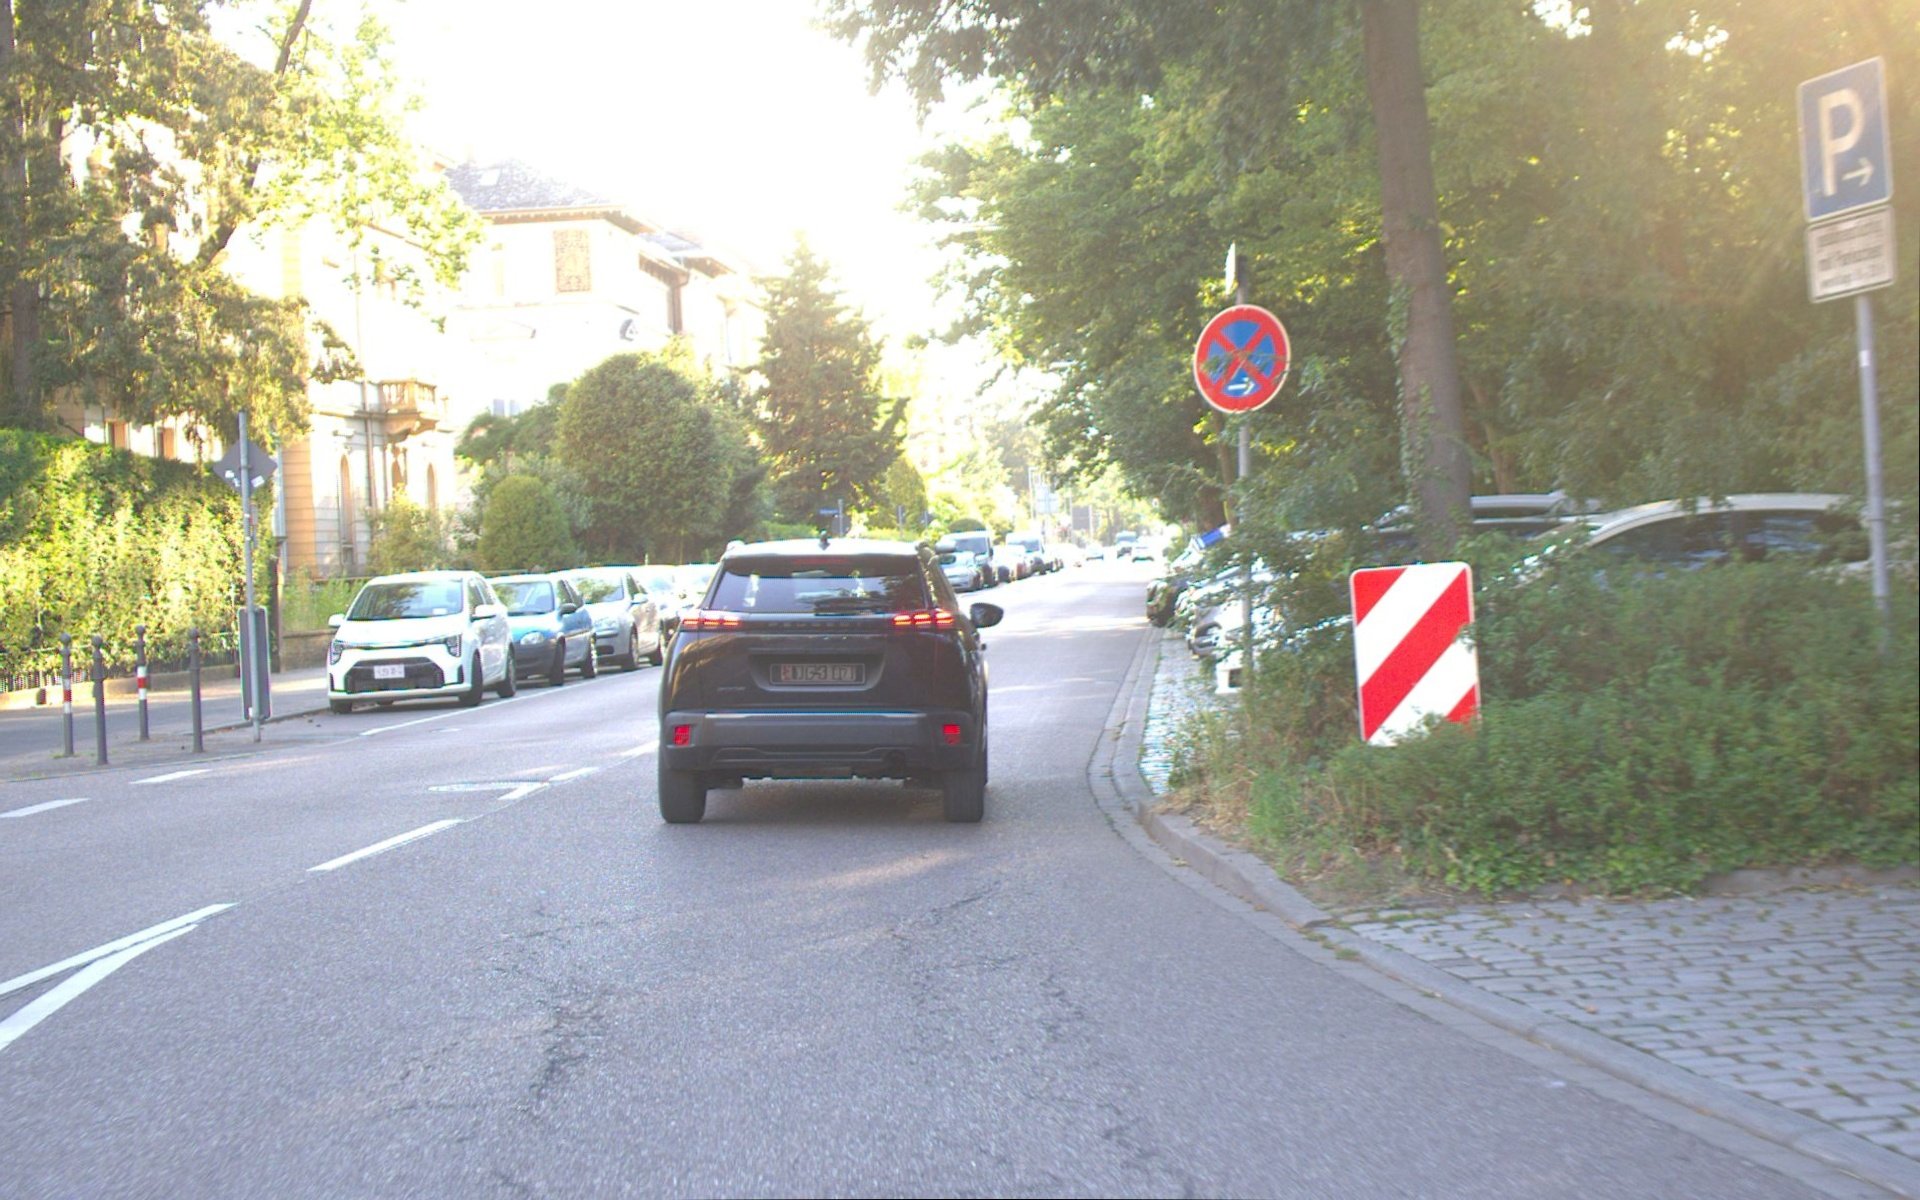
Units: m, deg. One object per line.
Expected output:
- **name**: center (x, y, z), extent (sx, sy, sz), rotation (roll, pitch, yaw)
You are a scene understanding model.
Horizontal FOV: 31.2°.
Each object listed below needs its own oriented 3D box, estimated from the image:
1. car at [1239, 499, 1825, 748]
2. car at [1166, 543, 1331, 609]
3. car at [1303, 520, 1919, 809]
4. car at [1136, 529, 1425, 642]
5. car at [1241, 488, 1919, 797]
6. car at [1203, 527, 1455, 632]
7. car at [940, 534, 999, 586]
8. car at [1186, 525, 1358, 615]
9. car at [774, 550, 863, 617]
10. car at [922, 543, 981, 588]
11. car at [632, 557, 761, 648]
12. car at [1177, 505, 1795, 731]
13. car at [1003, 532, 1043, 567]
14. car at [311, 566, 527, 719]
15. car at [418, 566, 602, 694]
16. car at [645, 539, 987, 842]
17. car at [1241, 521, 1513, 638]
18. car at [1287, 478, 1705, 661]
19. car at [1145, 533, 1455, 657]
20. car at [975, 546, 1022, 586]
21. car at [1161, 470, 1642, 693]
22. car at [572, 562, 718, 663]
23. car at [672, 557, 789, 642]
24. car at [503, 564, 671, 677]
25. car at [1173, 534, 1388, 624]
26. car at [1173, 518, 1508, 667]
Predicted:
- **car**: center (4.084, 0.144, 25.053), extent (3.987, 1.549, 1.752), rotation (-3, 2, 4)
- **car**: center (7.336, -0.610, 87.598), extent (3.987, 1.520, 1.758), rotation (-2, 1, -1)
- **car**: center (4.240, 0.379, 21.779), extent (3.987, 1.549, 1.725), rotation (-3, 2, 4)
- **car**: center (4.904, -0.232, 53.095), extent (4.243, 1.444, 2.021), rotation (-4, 0, 2)
- **car**: center (3.683, 0.221, 19.968), extent (3.987, 1.549, 1.725), rotation (-3, 1, 4)
- **car**: center (5.958, -0.333, 55.828), extent (3.808, 1.444, 1.877), rotation (-4, 0, 0)
- **car**: center (0.404, -1.599, 136.774), extent (1.994, 2.007, 3.999), rotation (-2, 1, 5)
- **car**: center (7.682, -0.743, 84.813), extent (3.987, 2.082, 1.758), rotation (-2, 1, -1)
- **car**: center (-3.328, -0.401, 81.494), extent (1.752, 1.409, 3.764), rotation (-4, 1, 2)
- **car**: center (-0.286, -1.285, 126.402), extent (1.900, 1.568, 4.000), rotation (-2, 1, 3)
- **car**: center (-4.569, 0.013, 60.076), extent (1.614, 1.461, 4.035), rotation (-3, 0, 4)
- **car**: center (4.144, 0.117, 27.442), extent (4.483, 1.549, 1.857), rotation (-3, 1, -7)
- **car**: center (3.455, -2.763, 187.308), extent (1.994, 1.809, 4.000), rotation (-2, 1, 3)
- **car**: center (-5.976, 0.437, 38.326), extent (1.614, 1.510, 3.712), rotation (-4, 0, 2)
- **car**: center (-5.705, 0.351, 44.004), extent (1.614, 1.480, 3.741), rotation (-3, 0, 3)
- **car**: center (-0.847, 0.435, 19.927), extent (1.771, 1.563, 4.109), rotation (0, 1, -3)
- **car**: center (6.097, -0.302, 50.337), extent (3.809, 1.444, 1.826), rotation (-4, 0, 7)
- **car**: center (5.379, -0.287, 34.908), extent (3.987, 1.549, 1.725), rotation (-3, -4, 4)
- **car**: center (4.758, -0.079, 48.045), extent (4.158, 1.444, 1.730), rotation (-4, 0, 7)
- **car**: center (1.843, -1.648, 164.391), extent (1.994, 1.809, 4.000), rotation (-2, 1, 3)
- **car**: center (4.135, -0.178, 32.828), extent (4.307, 1.798, 2.035), rotation (-4, 0, 3)
- **car**: center (-4.956, 0.171, 54.524), extent (1.614, 1.461, 4.035), rotation (-3, 0, 4)
- **car**: center (-4.289, -0.034, 64.694), extent (1.614, 1.461, 4.035), rotation (-3, 0, 4)
- **car**: center (-5.239, 0.256, 48.757), extent (1.614, 1.461, 4.035), rotation (-3, 0, 4)
- **car**: center (6.057, -0.403, 65.291), extent (3.808, 1.444, 1.826), rotation (-4, 0, 0)
- **car**: center (4.711, -0.102, 42.982), extent (3.987, 1.549, 1.725), rotation (-4, 0, 4)
